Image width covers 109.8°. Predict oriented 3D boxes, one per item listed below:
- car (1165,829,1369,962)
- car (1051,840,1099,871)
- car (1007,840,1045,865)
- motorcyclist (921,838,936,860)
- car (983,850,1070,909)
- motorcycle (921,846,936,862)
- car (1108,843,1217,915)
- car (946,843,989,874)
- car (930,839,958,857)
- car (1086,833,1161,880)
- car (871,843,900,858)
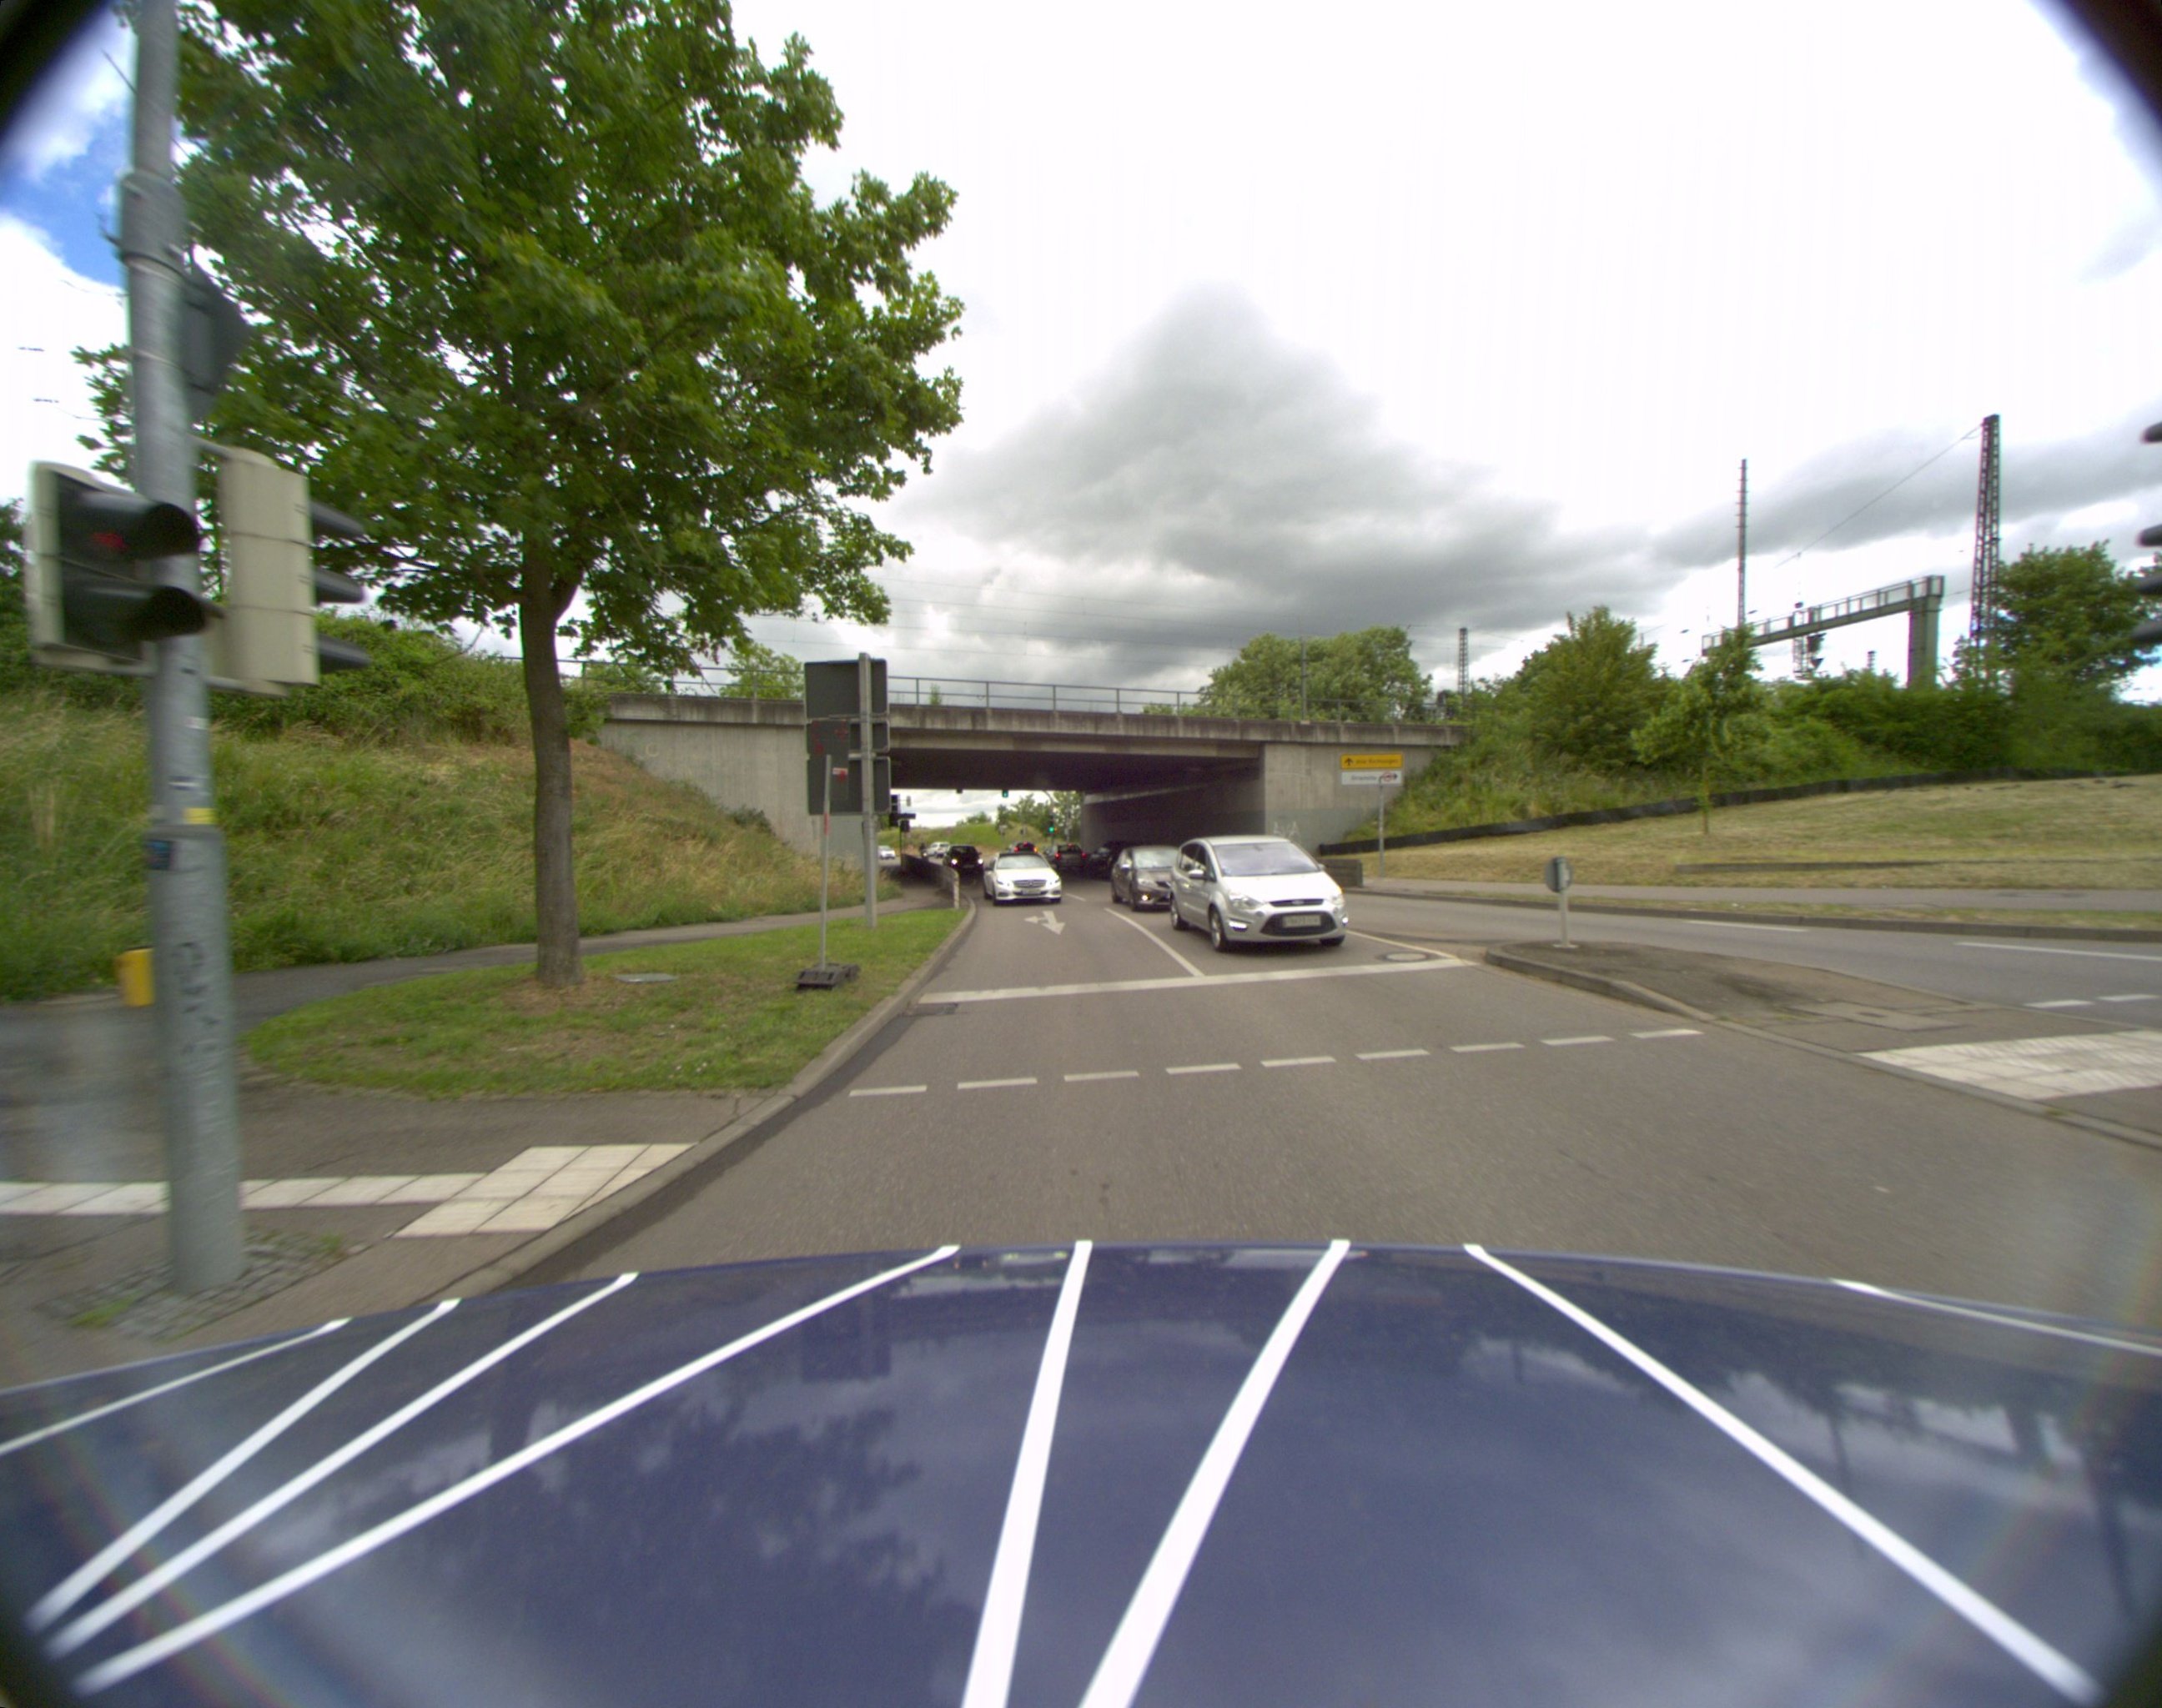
[{"bbox_3d":[2.643,0.516,12.007,1.830,1.629,4.510,-3,1,-3],"label":"car"},{"bbox_3d":[-0.373,0.088,40.838,1.760,1.505,3.884,-3,1,-12],"label":"car"},{"bbox_3d":[-3.928,-0.068,53.320,1.761,1.610,4.365,-3,1,-16],"label":"car"},{"bbox_3d":[-11.054,-0.354,54.974,0.883,1.596,1.242,-3,1,-15],"label":"motorcyclist"},{"bbox_3d":[-1.683,0.676,22.126,1.907,1.471,4.090,-3,1,-12],"label":"car"},{"bbox_3d":[-11.071,0.020,55.102,0.883,1.098,2.357,-3,0,-15],"label":"motorcycle"},{"bbox_3d":[1.901,0.543,19.029,1.759,1.525,4.251,-3,1,-7],"label":"car"},{"bbox_3d":[-6.174,0.239,41.054,1.761,1.532,3.994,-3,1,-16],"label":"car"},{"bbox_3d":[-14.297,-0.602,79.378,1.762,1.658,3.879,-3,1,-27],"label":"car"},{"bbox_3d":[1.714,0.090,32.091,1.967,1.781,3.995,-3,1,-14],"label":"car"},{"bbox_3d":[-21.393,-0.346,83.042,1.763,1.483,3.990,-3,1,-35],"label":"car"}]
